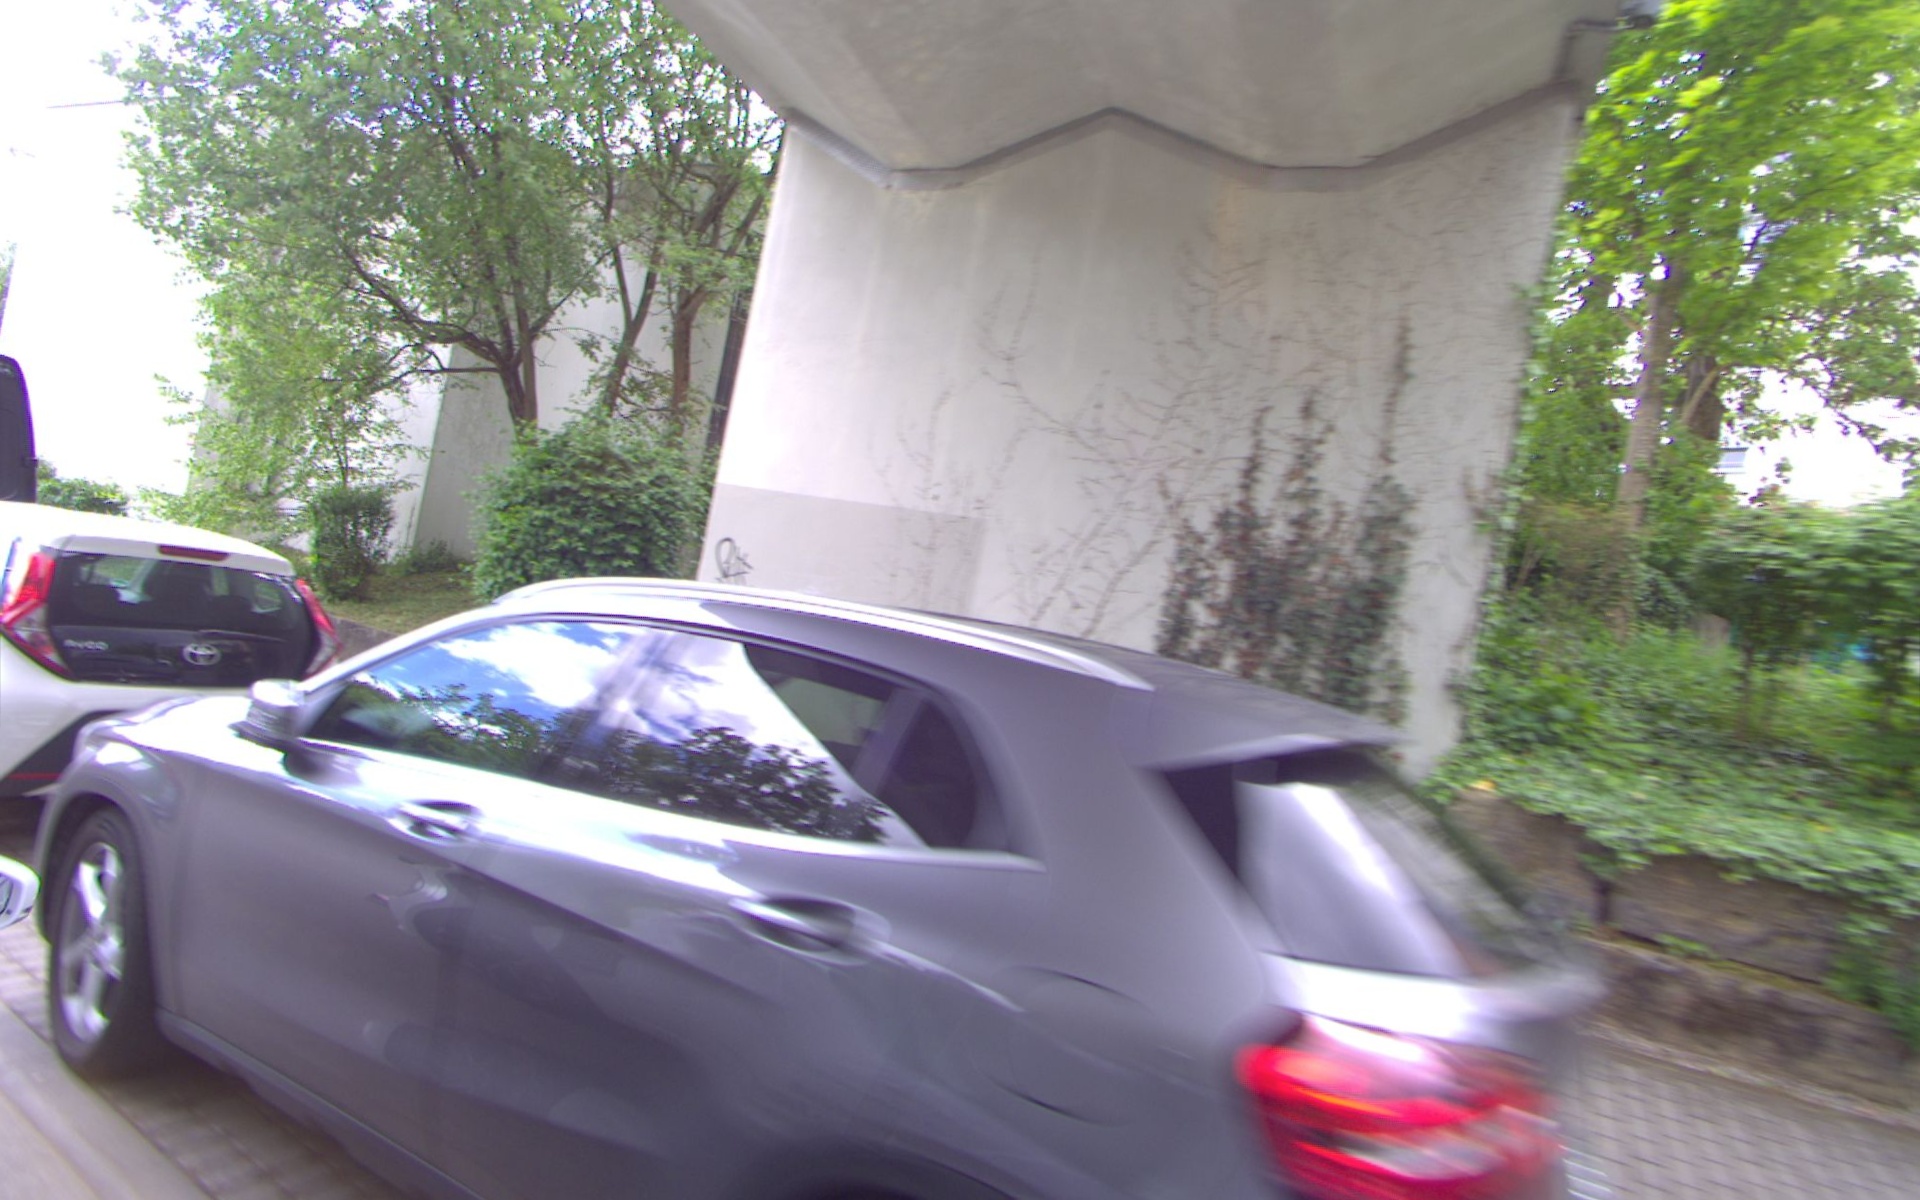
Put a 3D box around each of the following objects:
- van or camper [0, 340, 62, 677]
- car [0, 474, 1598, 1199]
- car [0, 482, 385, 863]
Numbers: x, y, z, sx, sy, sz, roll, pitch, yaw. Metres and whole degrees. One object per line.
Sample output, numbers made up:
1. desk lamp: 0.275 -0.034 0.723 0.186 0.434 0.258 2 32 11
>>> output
1. van or camper: -9.986 -1.022 8.459 5.380 2.553 1.997 7 0 32
2. car: -0.810 0.680 2.699 4.050 1.513 1.703 7 -2 31
3. car: -4.879 0.175 5.367 3.274 1.513 1.566 8 -1 30
